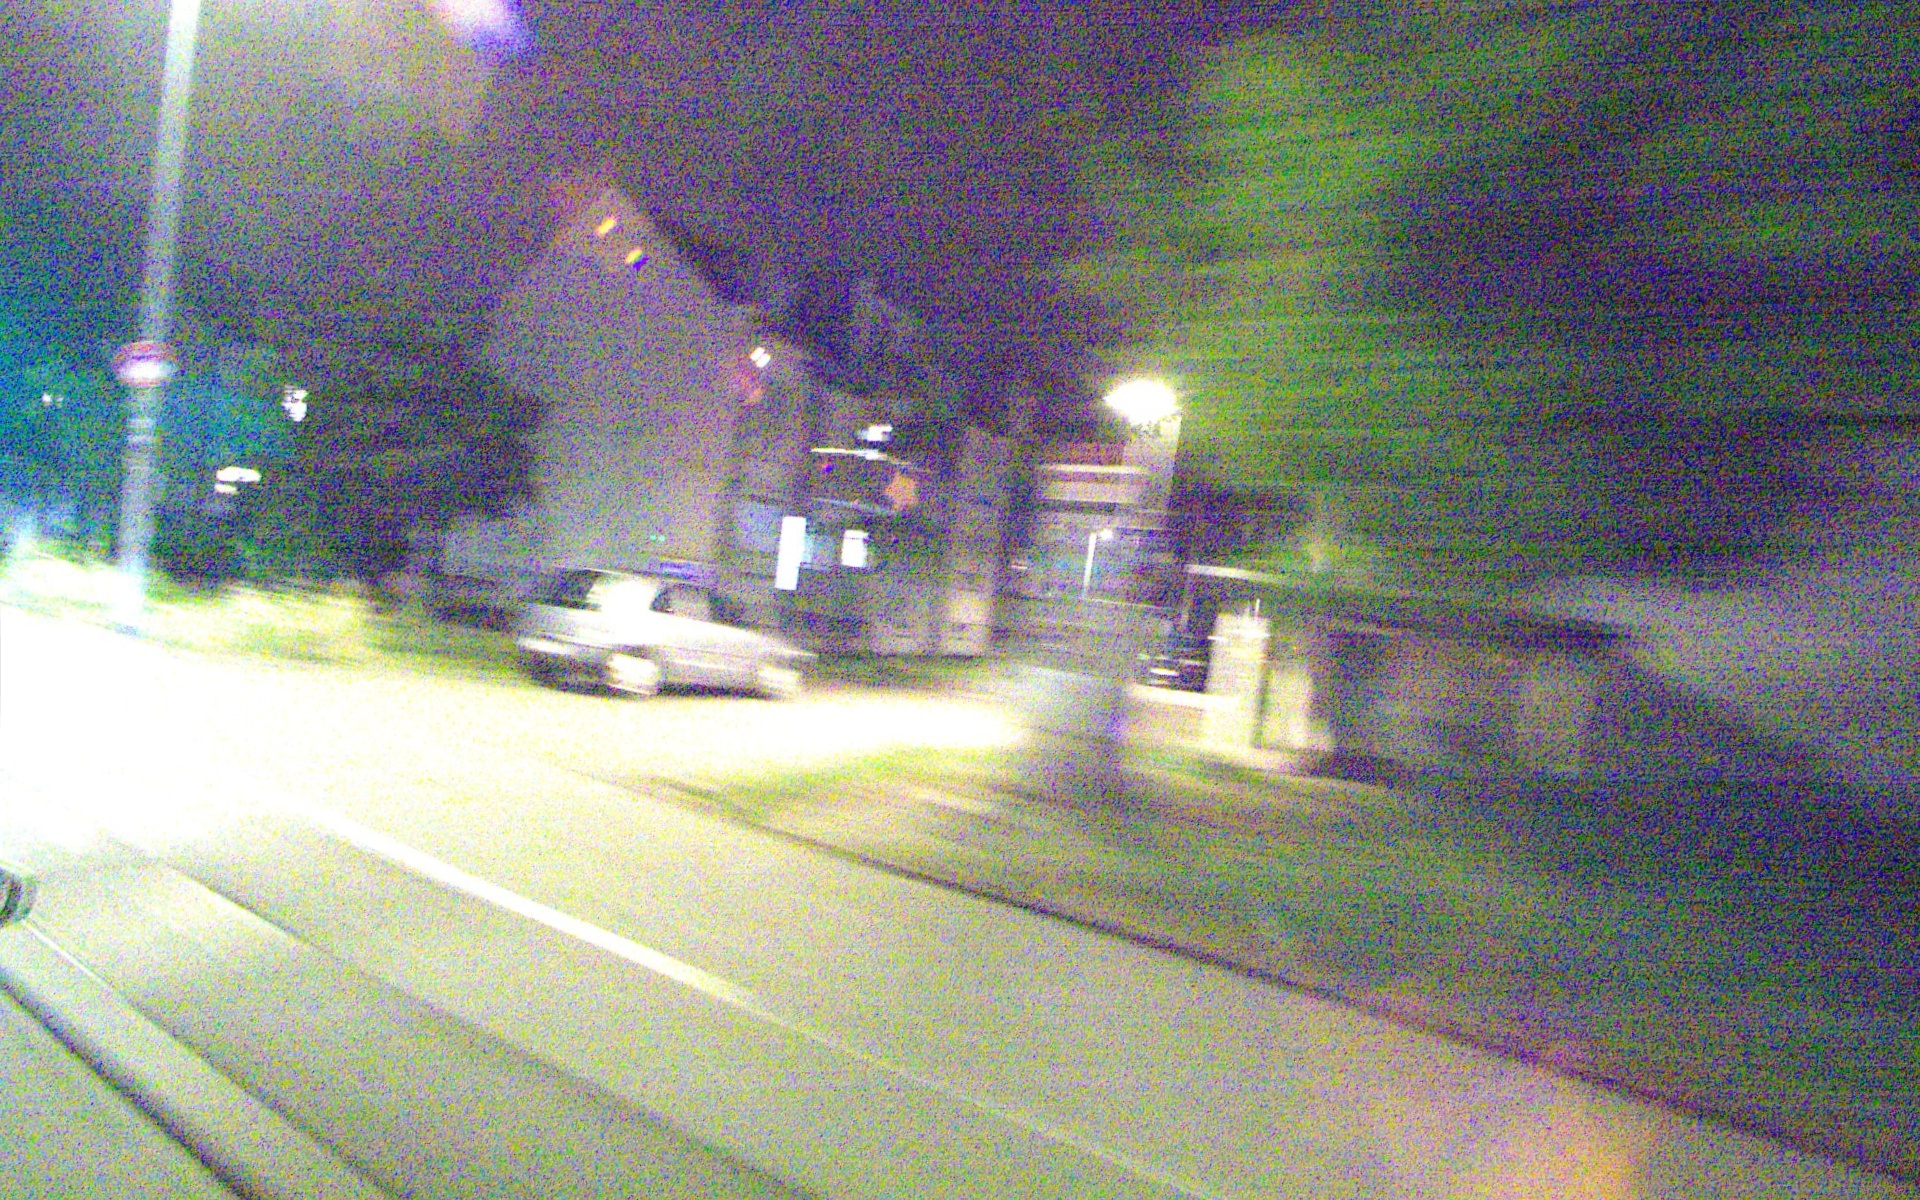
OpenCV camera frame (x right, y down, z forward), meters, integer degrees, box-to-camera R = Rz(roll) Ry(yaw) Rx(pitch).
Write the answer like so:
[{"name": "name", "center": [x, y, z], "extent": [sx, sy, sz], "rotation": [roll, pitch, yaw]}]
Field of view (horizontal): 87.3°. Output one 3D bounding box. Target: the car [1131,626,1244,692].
[{"name": "car", "center": [6.881, 1.789, 30.170], "extent": [1.967, 1.593, 3.991], "rotation": [7, 0, 32]}]

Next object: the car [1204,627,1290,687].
[{"name": "car", "center": [10.830, 2.182, 37.788], "extent": [1.966, 1.905, 3.993], "rotation": [7, 0, 31]}]

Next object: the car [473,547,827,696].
[{"name": "car", "center": [-3.600, 0.344, 12.321], "extent": [1.828, 1.370, 3.770], "rotation": [7, -1, 32]}]
